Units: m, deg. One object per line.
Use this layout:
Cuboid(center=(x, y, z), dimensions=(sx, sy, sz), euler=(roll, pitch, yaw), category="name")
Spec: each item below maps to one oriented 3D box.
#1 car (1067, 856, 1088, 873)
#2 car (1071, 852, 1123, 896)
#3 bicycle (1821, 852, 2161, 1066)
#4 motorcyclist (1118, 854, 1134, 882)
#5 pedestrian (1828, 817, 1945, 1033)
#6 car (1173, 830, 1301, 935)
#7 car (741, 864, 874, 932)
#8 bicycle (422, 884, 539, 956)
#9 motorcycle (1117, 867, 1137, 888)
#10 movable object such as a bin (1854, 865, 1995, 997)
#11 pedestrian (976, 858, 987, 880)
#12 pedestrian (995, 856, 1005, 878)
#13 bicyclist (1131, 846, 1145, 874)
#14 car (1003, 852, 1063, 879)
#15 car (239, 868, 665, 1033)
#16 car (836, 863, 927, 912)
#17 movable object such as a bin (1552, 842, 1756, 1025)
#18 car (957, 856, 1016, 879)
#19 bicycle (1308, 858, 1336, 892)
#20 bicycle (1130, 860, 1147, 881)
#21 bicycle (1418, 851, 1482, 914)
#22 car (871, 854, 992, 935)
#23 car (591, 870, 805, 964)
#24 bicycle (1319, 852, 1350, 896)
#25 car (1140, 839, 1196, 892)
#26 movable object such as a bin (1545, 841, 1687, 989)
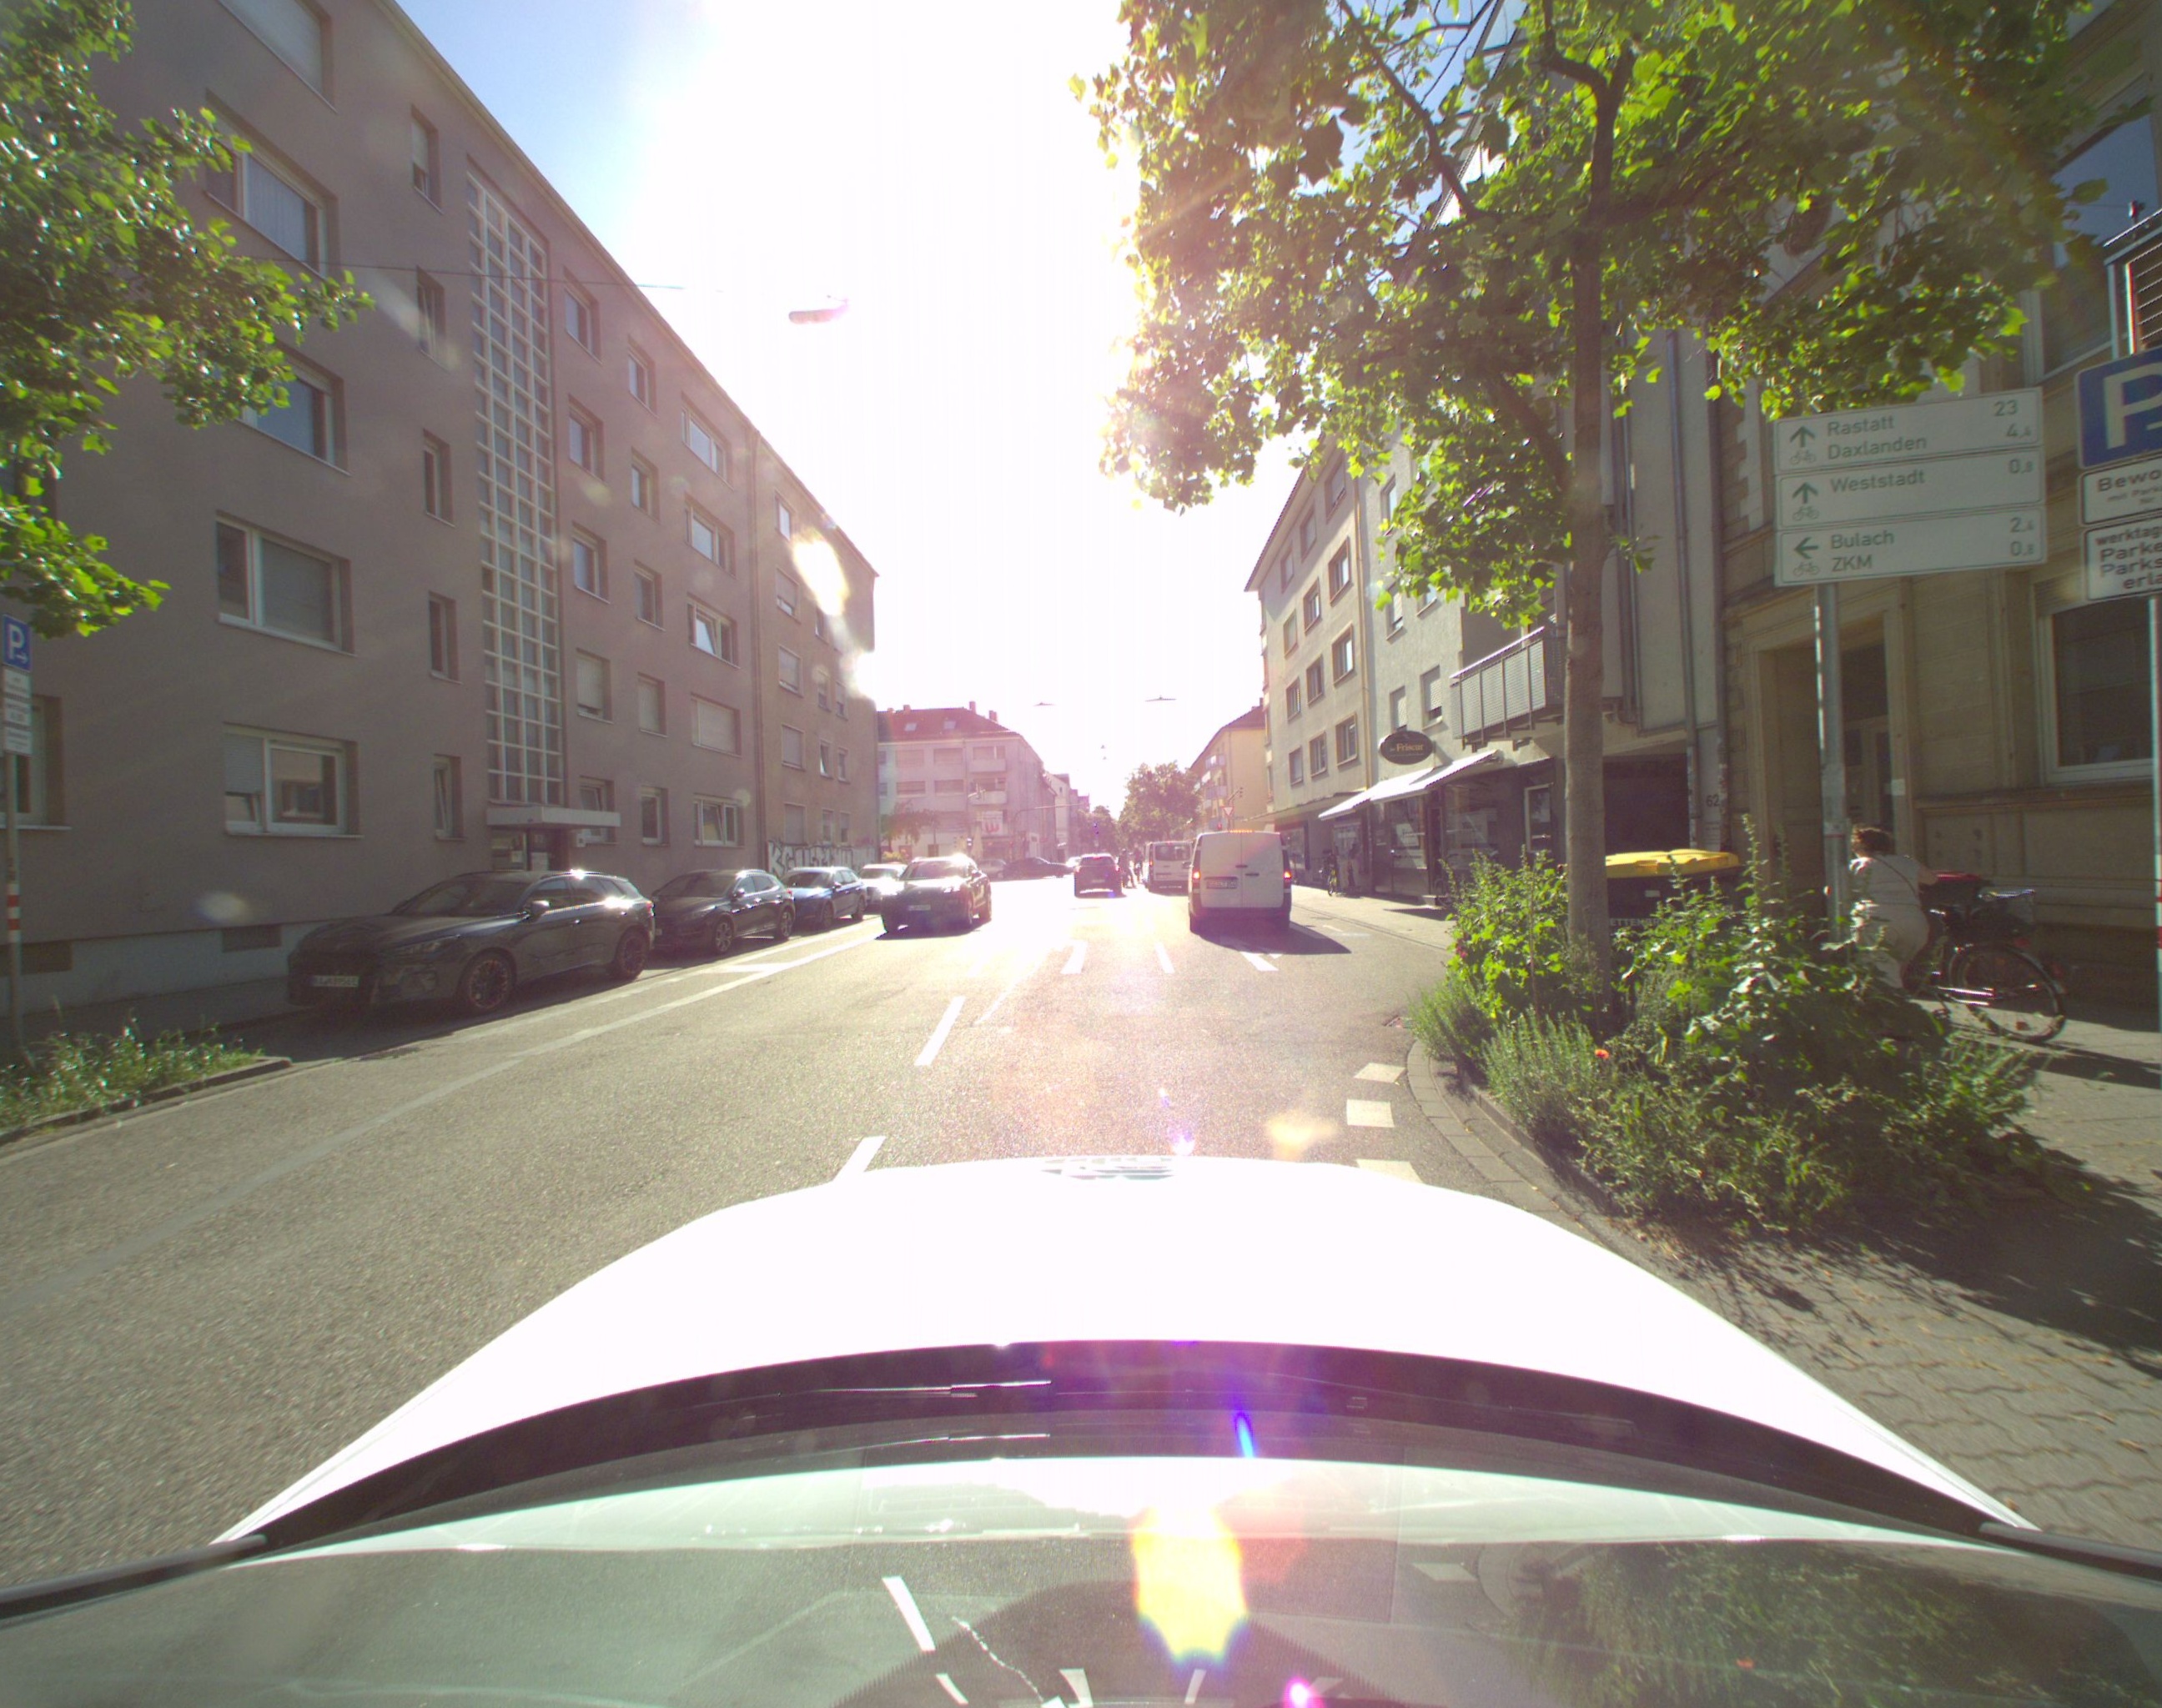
Cuboid(center=(-0.254, 0.901, 71.325), dimensions=(1.612, 1.398, 3.733), euler=(-1, 0, 2), category="car")
Cuboid(center=(0.624, 0.717, 31.334), dimensions=(1.838, 1.507, 4.001), euler=(-2, 0, 1), category="car")
Cuboid(center=(6.162, 0.573, 5.434), dimensions=(0.534, 1.149, 2.125), euler=(-2, 0, 2), category="bicycle")
Cuboid(center=(2.053, 0.629, 37.107), dimensions=(0.656, 1.227, 0.694), euler=(-2, -1, 1), category="motorcyclist")
Cuboid(center=(5.751, 0.490, 5.826), dimensions=(0.366, 1.469, 0.389), euler=(-3, 0, 1), category="pedestrian")
Cuboid(center=(3.040, 0.511, 16.837), dimensions=(1.976, 1.822, 4.551), euler=(-2, 0, 3), category="car")
Cuboid(center=(-6.922, 1.053, 21.161), dimensions=(1.714, 1.497, 4.628), euler=(1, 0, 2), category="car")
Cuboid(center=(-10.493, 1.116, 14.319), dimensions=(0.552, 1.102, 1.904), euler=(-2, 0, 2), category="bicycle")
Cuboid(center=(2.084, 1.043, 37.073), dimensions=(0.804, 0.863, 1.823), euler=(-2, 0, 1), category="motorcycle")
Cuboid(center=(7.126, 0.629, 6.903), dimensions=(0.596, 1.042, 0.546), euler=(-2, 0, 1), category="movable object such as a bin")
Cuboid(center=(-7.712, 1.124, 62.984), dimensions=(0.681, 1.663, 0.601), euler=(-2, -1, 1), category="pedestrian")
Cuboid(center=(-6.361, 0.991, 63.834), dimensions=(0.681, 1.663, 0.601), euler=(-2, 0, 1), category="pedestrian")
Cuboid(center=(2.986, 0.328, 42.726), dimensions=(0.681, 1.449, 0.940), euler=(-2, -1, 1), category="bicyclist")
Cuboid(center=(-3.253, 0.764, 55.778), dimensions=(3.976, 1.640, 1.999), euler=(-2, 0, -2), category="car")
Cuboid(center=(-7.513, 1.016, 10.445), dimensions=(1.868, 1.606, 4.369), euler=(-1, 0, 4), category="car")
Cuboid(center=(-6.604, 1.047, 27.494), dimensions=(1.770, 1.469, 4.761), euler=(0, 0, 2), category="car")
Cuboid(center=(4.917, 0.612, 6.991), dimensions=(1.278, 1.347, 1.095), euler=(-2, 0, -40), category="movable object such as a bin")
Cuboid(center=(-6.785, 0.955, 58.850), dimensions=(3.973, 1.486, 1.727), euler=(-2, 0, 0), category="car")
Cuboid(center=(8.280, 0.696, 27.999), dimensions=(0.521, 1.118, 1.535), euler=(-2, 0, 2), category="bicycle")
Cuboid(center=(2.995, 0.854, 42.567), dimensions=(0.772, 0.992, 1.717), euler=(-2, 0, 1), category="bicycle")
Cuboid(center=(7.914, 0.583, 17.558), dimensions=(0.546, 1.269, 1.884), euler=(-2, 0, 2), category="bicycle")
Cuboid(center=(-3.387, 0.854, 19.329), dimensions=(1.860, 1.614, 4.429), euler=(-3, 0, 2), category="car")
Cuboid(center=(-7.291, 1.128, 16.083), dimensions=(1.985, 1.497, 4.233), euler=(1, 0, 4), category="car")
Cuboid(center=(7.696, 0.598, 24.768), dimensions=(0.473, 1.274, 1.218), euler=(-5, 0, 2), category="bicycle")
Cuboid(center=(3.491, 0.445, 33.315), dimensions=(1.809, 1.921, 4.645), euler=(-2, 0, 1), category="car")
Cuboid(center=(5.451, 0.569, 8.280), dimensions=(1.028, 1.347, 1.116), euler=(-2, 0, 41), category="movable object such as a bin")
